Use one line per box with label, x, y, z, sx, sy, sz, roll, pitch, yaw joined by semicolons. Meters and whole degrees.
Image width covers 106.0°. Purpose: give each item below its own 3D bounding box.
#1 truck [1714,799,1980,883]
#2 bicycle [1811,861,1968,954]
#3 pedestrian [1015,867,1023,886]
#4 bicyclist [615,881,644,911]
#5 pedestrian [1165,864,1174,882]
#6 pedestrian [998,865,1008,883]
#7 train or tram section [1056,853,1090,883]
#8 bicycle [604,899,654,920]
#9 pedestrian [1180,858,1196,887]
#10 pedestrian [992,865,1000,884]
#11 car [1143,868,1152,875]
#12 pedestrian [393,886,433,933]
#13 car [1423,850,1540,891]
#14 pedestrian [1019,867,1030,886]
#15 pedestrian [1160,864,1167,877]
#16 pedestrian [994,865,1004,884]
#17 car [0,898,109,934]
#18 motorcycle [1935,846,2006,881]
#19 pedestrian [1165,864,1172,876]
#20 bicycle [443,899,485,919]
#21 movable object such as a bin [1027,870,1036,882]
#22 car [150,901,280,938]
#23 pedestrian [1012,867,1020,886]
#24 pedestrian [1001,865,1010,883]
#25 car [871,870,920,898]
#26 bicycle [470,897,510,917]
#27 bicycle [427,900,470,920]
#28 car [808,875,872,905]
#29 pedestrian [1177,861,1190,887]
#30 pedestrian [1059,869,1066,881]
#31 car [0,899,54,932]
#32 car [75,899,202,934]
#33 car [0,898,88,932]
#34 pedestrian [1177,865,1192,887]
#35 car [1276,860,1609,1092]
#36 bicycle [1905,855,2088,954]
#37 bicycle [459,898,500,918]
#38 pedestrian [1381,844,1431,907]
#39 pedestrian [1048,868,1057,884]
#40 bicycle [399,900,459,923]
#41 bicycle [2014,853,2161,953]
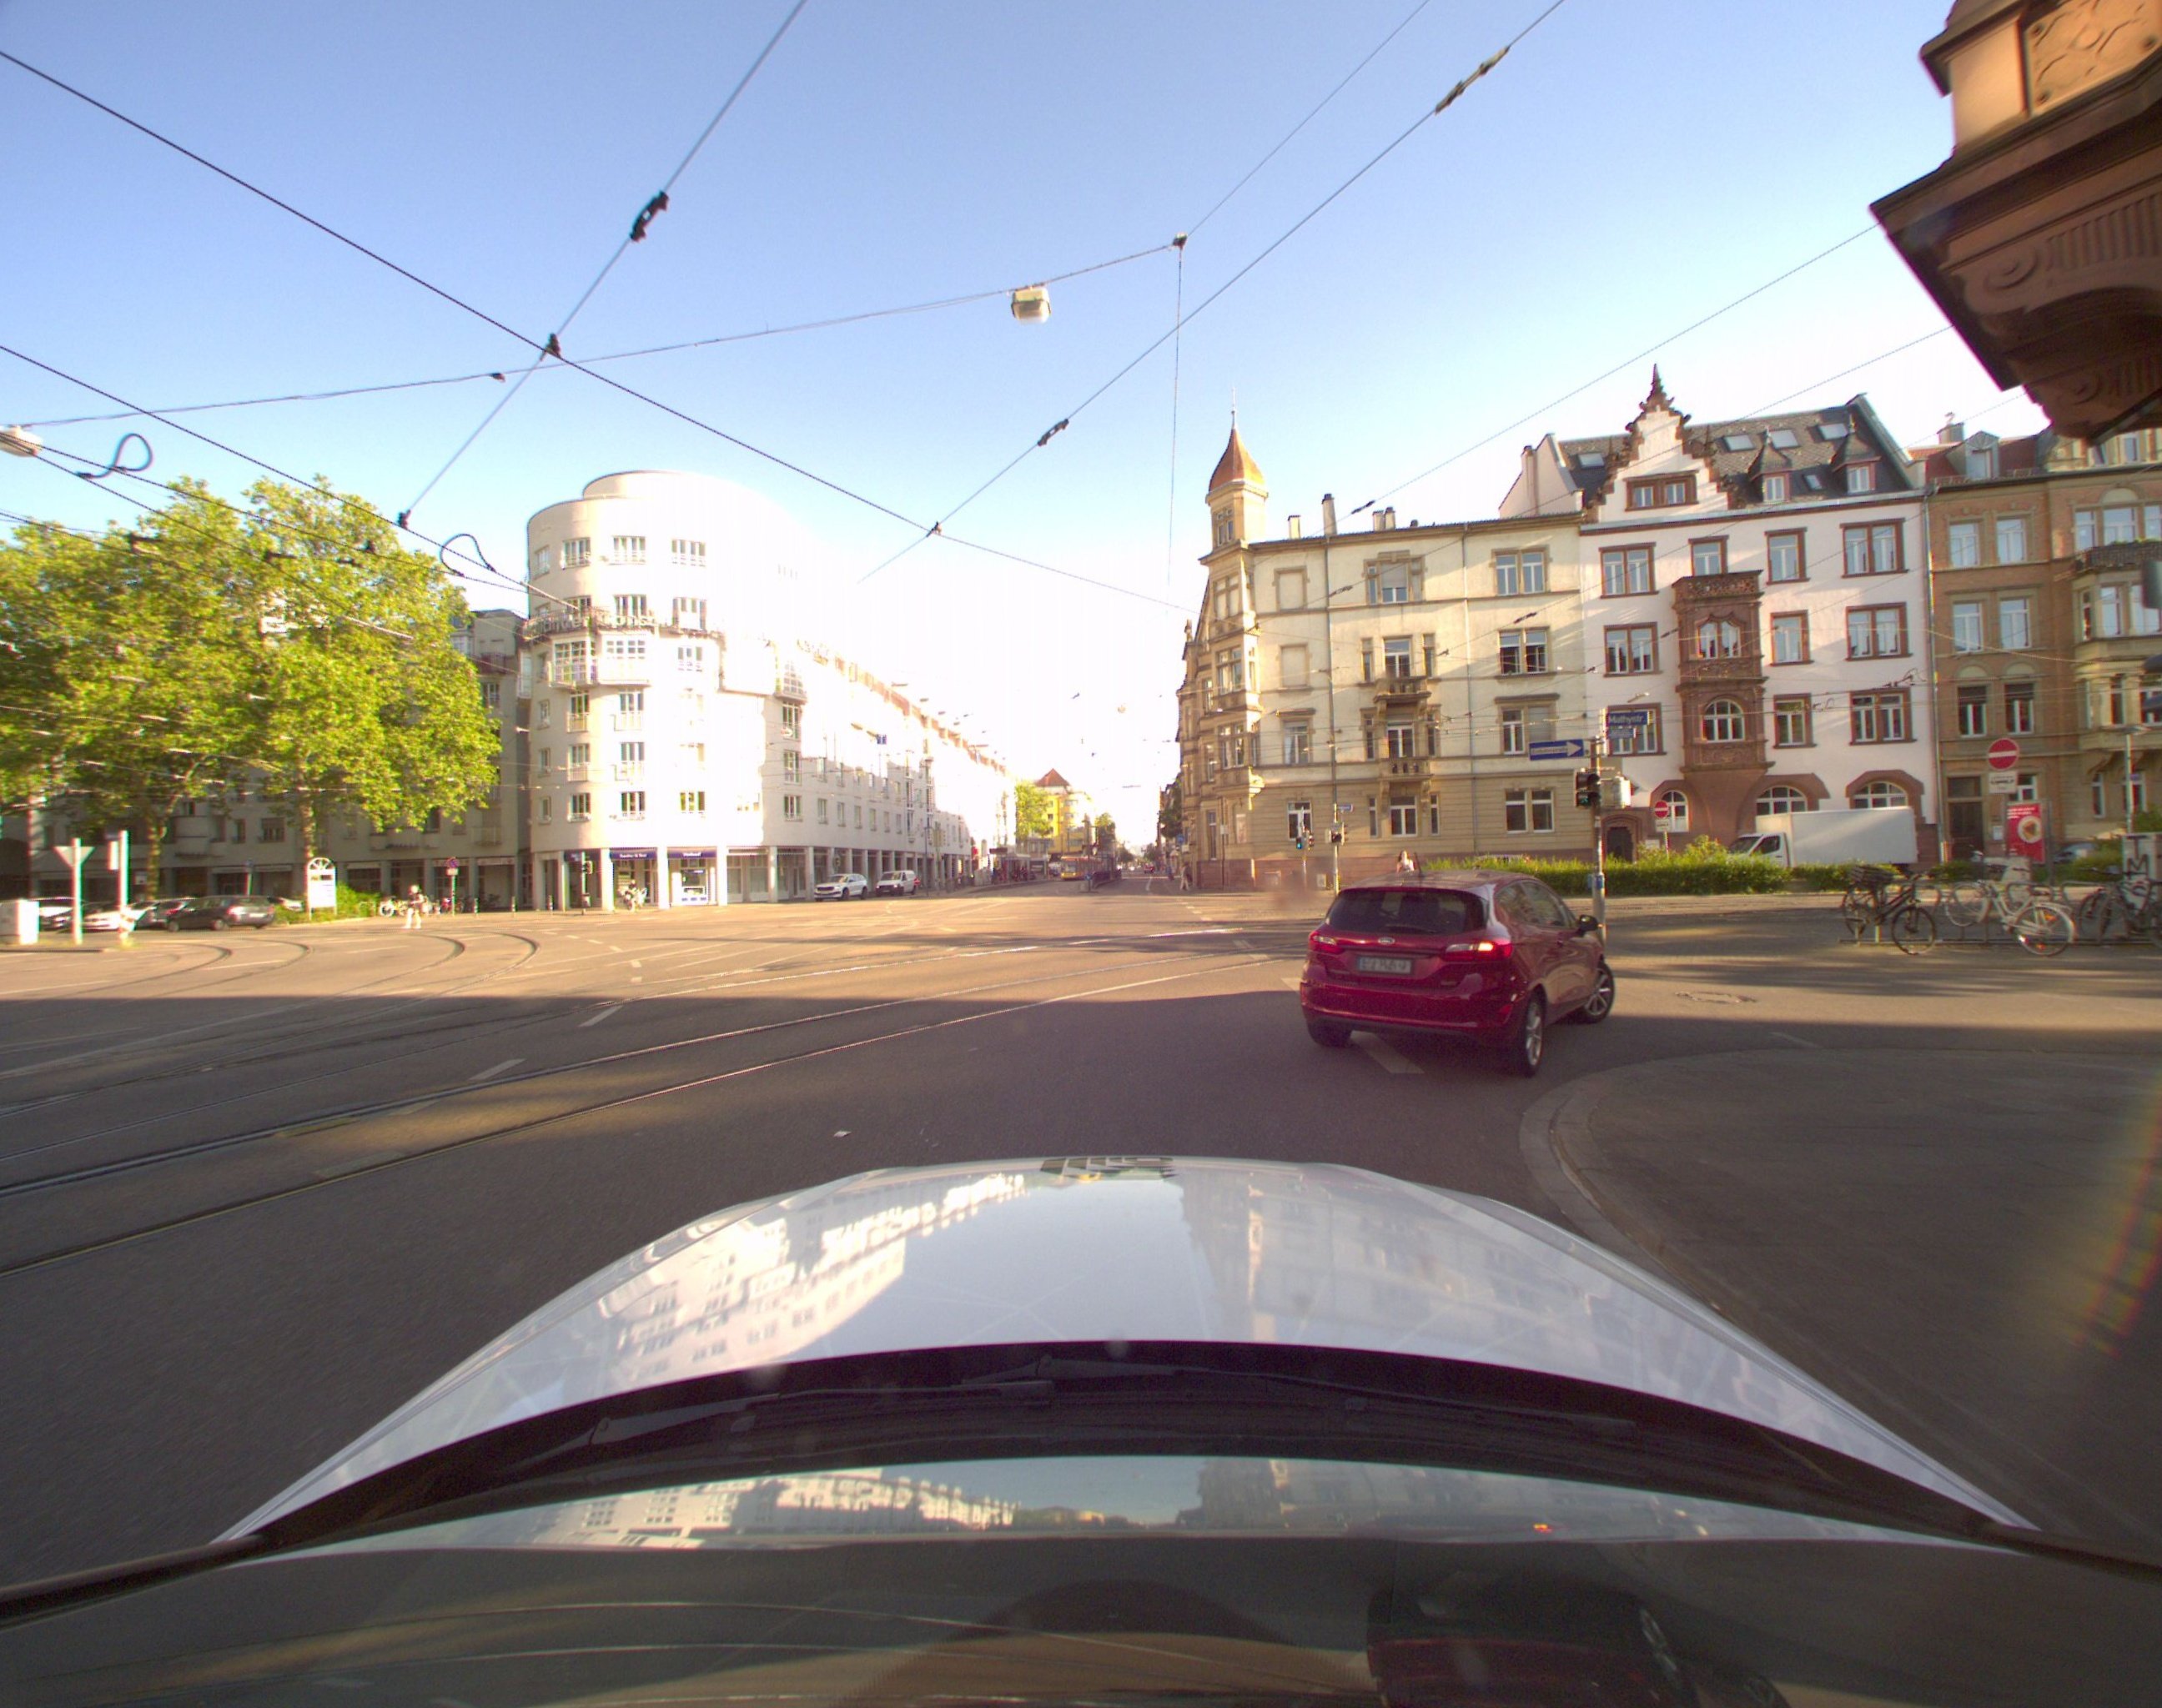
truck;31.230;-0.445;33.510;8.012;3.081;2.335;-2;-2;8
bicycle;12.294;0.767;12.476;0.749;1.263;1.840;-2;0;9
pedestrian;-6.327;2.296;82.560;0.693;1.905;0.672;-2;-2;2
bicyclist;-22.991;2.145;41.483;0.834;1.467;0.900;-2;-1;16
pedestrian;8.528;1.806;78.350;0.759;1.645;0.833;-4;-1;4
pedestrian;-7.302;1.904;76.390;0.698;1.691;0.668;-1;-2;-19
train or tram section;-0.907;1.885;106.432;2.872;3.490;14.183;-4;-2;5
bicycle;-22.982;2.801;41.458;0.834;0.927;2.274;-2;-1;16
pedestrian;6.600;1.160;50.249;0.791;1.721;0.720;-3;-2;2
pedestrian;-7.517;1.800;72.036;0.596;1.692;0.614;-2;-2;4
car;15.054;3.938;183.153;1.984;1.449;4.005;-1;-1;4
pedestrian;-25.139;2.071;30.634;0.862;1.682;0.699;-3;0;13
car;17.515;0.731;35.781;4.229;1.632;1.951;-2;-2;12
pedestrian;-5.812;2.331;84.094;0.928;1.905;0.881;-2;-2;2
pedestrian;11.437;2.288;112.893;0.710;1.774;0.773;-5;0;1
pedestrian;-7.447;1.849;74.054;0.523;1.733;0.756;0;-2;-44
car;-55.830;3.304;43.963;1.787;1.715;4.003;-2;-1;3
motorcycle;30.671;0.332;28.110;0.602;1.021;1.758;-2;-7;9
pedestrian;12.178;2.282;113.172;0.710;1.602;0.773;-5;0;1
bicycle;-36.575;3.252;48.286;1.930;1.107;0.821;-2;-1;9
movable object such as a bin;-5.487;2.396;90.322;0.933;1.287;0.935;-2;-2;2
car;-40.303;3.055;37.937;4.416;1.421;1.895;-3;-1;8
pedestrian;-6.538;2.284;82.014;0.693;1.905;0.672;-2;-2;2
pedestrian;-7.219;1.946;78.121;0.698;1.691;0.668;-1;-2;-19
car;-13.678;2.187;60.414;1.984;1.837;5.352;-2;-1;4
bicycle;-36.570;3.273;50.392;1.931;1.107;0.820;-2;-1;7
bicycle;-36.741;3.246;47.307;1.930;1.107;0.821;-2;-1;9
car;-14.677;2.145;49.804;1.982;1.620;4.520;-2;-1;8
pedestrian;7.360;1.435;58.333;0.797;1.824;0.798;-4;-1;4
pedestrian;-2.956;3.472;131.687;0.878;1.905;0.931;-1;-2;-11
car;-60.720;3.475;45.378;1.787;1.715;4.003;-2;-1;3
car;-48.811;3.203;42.302;1.787;1.510;4.003;-2;-1;3
car;-58.265;3.369;44.969;1.787;1.715;4.003;-2;-1;3
pedestrian;6.281;1.346;49.536;0.791;1.331;0.720;-3;-2;2
car;3.356;0.810;7.193;1.676;1.495;3.602;-1;-1;41
bicycle;13.657;0.704;12.251;0.749;1.263;1.973;-2;2;9
bicycle;-36.574;3.264;49.521;1.931;1.107;0.820;-2;-1;7
pedestrian;9.723;0.631;24.383;1.019;1.807;1.083;-2;-1;1
pedestrian;-3.646;2.797;103.721;0.878;1.905;0.931;-1;-2;-11
bicycle;-36.492;3.210;45.633;2.436;1.107;0.935;-2;-1;-10
bicycle;15.378;0.684;12.206;0.749;1.263;1.973;-2;2;9
